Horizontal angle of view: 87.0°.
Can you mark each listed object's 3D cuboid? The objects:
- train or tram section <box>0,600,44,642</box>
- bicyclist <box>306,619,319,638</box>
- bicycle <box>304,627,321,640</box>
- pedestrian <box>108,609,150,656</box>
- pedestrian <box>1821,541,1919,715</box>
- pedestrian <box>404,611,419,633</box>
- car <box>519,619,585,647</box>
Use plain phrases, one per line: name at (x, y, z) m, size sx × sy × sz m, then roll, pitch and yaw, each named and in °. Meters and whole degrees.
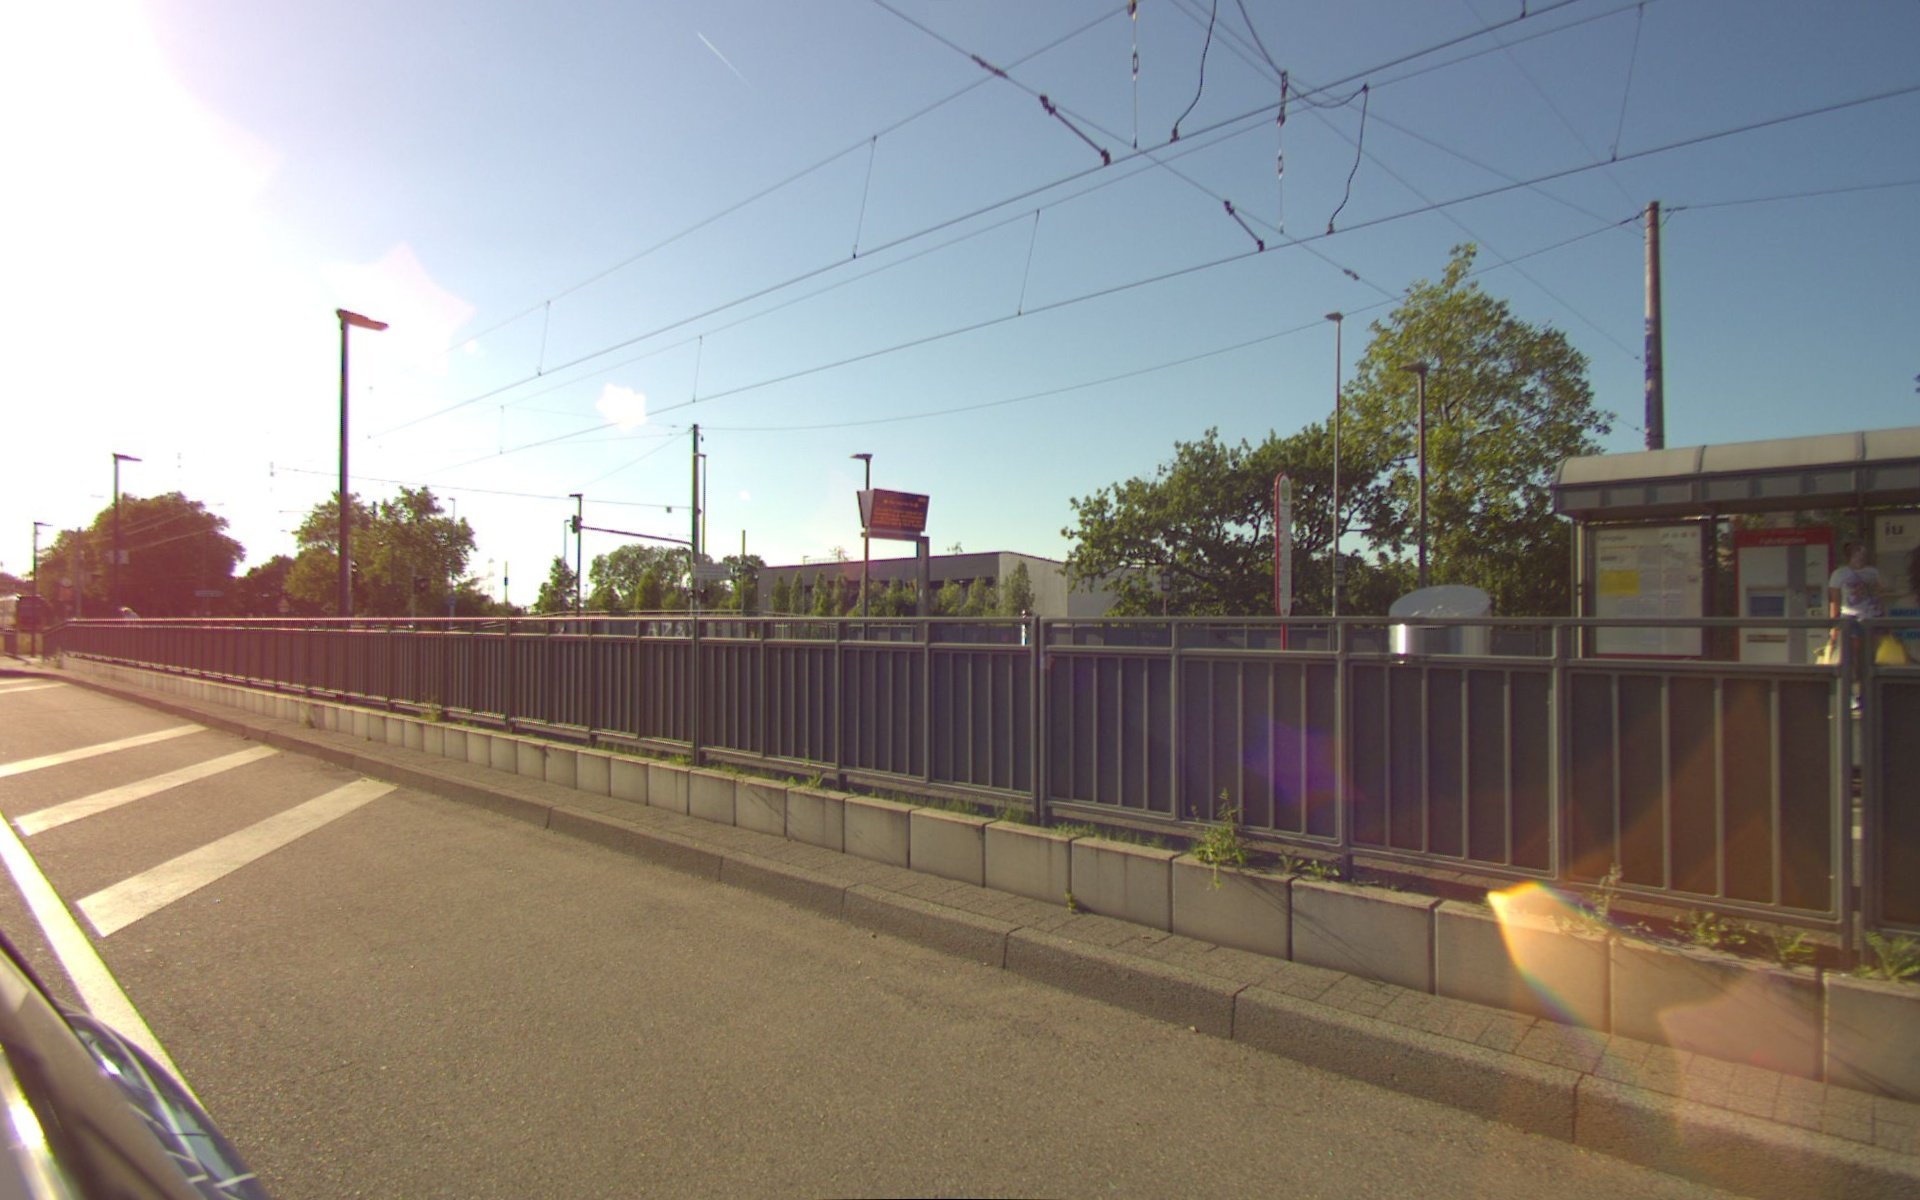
train or tram section at (-95.181, 2.096, 102.169) m, size 12.110 × 3.977 × 2.853 m, roll -1°, pitch -1°, yaw 42°
bicyclist at (-57.353, 2.514, 89.612) m, size 0.835 × 1.629 × 0.760 m, roll -1°, pitch -2°, yaw 43°
bicycle at (-57.300, 2.957, 89.575) m, size 2.528 × 1.136 × 0.624 m, roll -1°, pitch -2°, yaw 42°
pedestrian at (-29.844, 1.146, 36.360) m, size 0.983 × 1.657 × 0.883 m, roll -1°, pitch -2°, yaw 31°
pedestrian at (9.651, 0.287, 10.667) m, size 0.696 × 1.770 × 0.584 m, roll -1°, pitch -1°, yaw 22°
pedestrian at (-40.701, 1.607, 75.051) m, size 0.879 × 1.621 × 0.713 m, roll -1°, pitch -2°, yaw 43°
car at (-21.749, 1.729, 53.847) m, size 4.000 × 1.457 × 1.713 m, roll -1°, pitch -2°, yaw 43°
